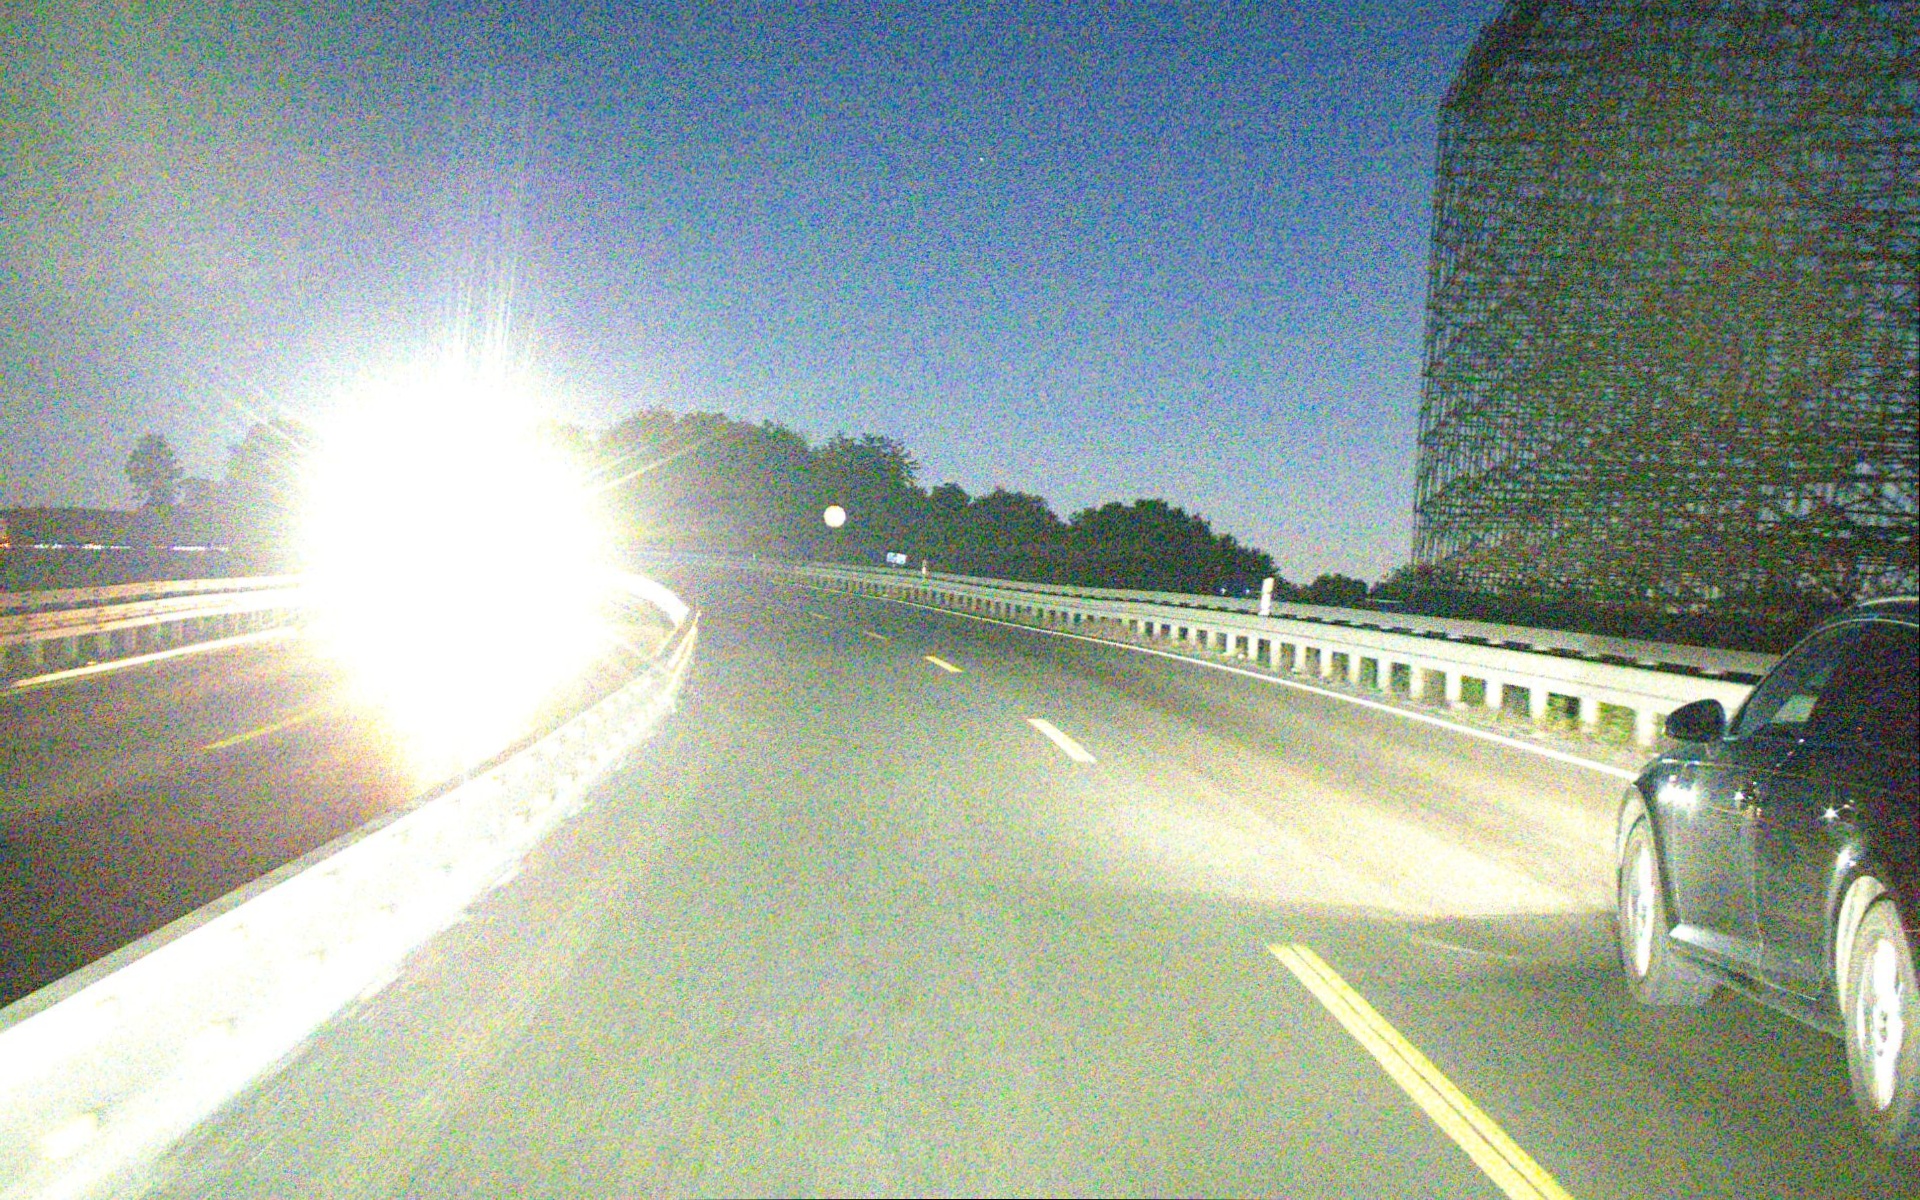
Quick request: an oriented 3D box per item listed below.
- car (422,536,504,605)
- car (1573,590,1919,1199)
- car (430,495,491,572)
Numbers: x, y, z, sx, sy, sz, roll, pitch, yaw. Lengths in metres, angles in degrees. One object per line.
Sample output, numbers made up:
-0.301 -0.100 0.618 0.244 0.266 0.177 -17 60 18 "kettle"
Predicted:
-10.708 -0.648 74.246 1.684 1.454 4.201 0 1 -7 "car"
3.164 0.707 10.117 1.808 1.422 4.875 0 1 0 "car"
-20.959 -2.754 144.421 2.485 3.095 7.387 0 0 -8 "car"
